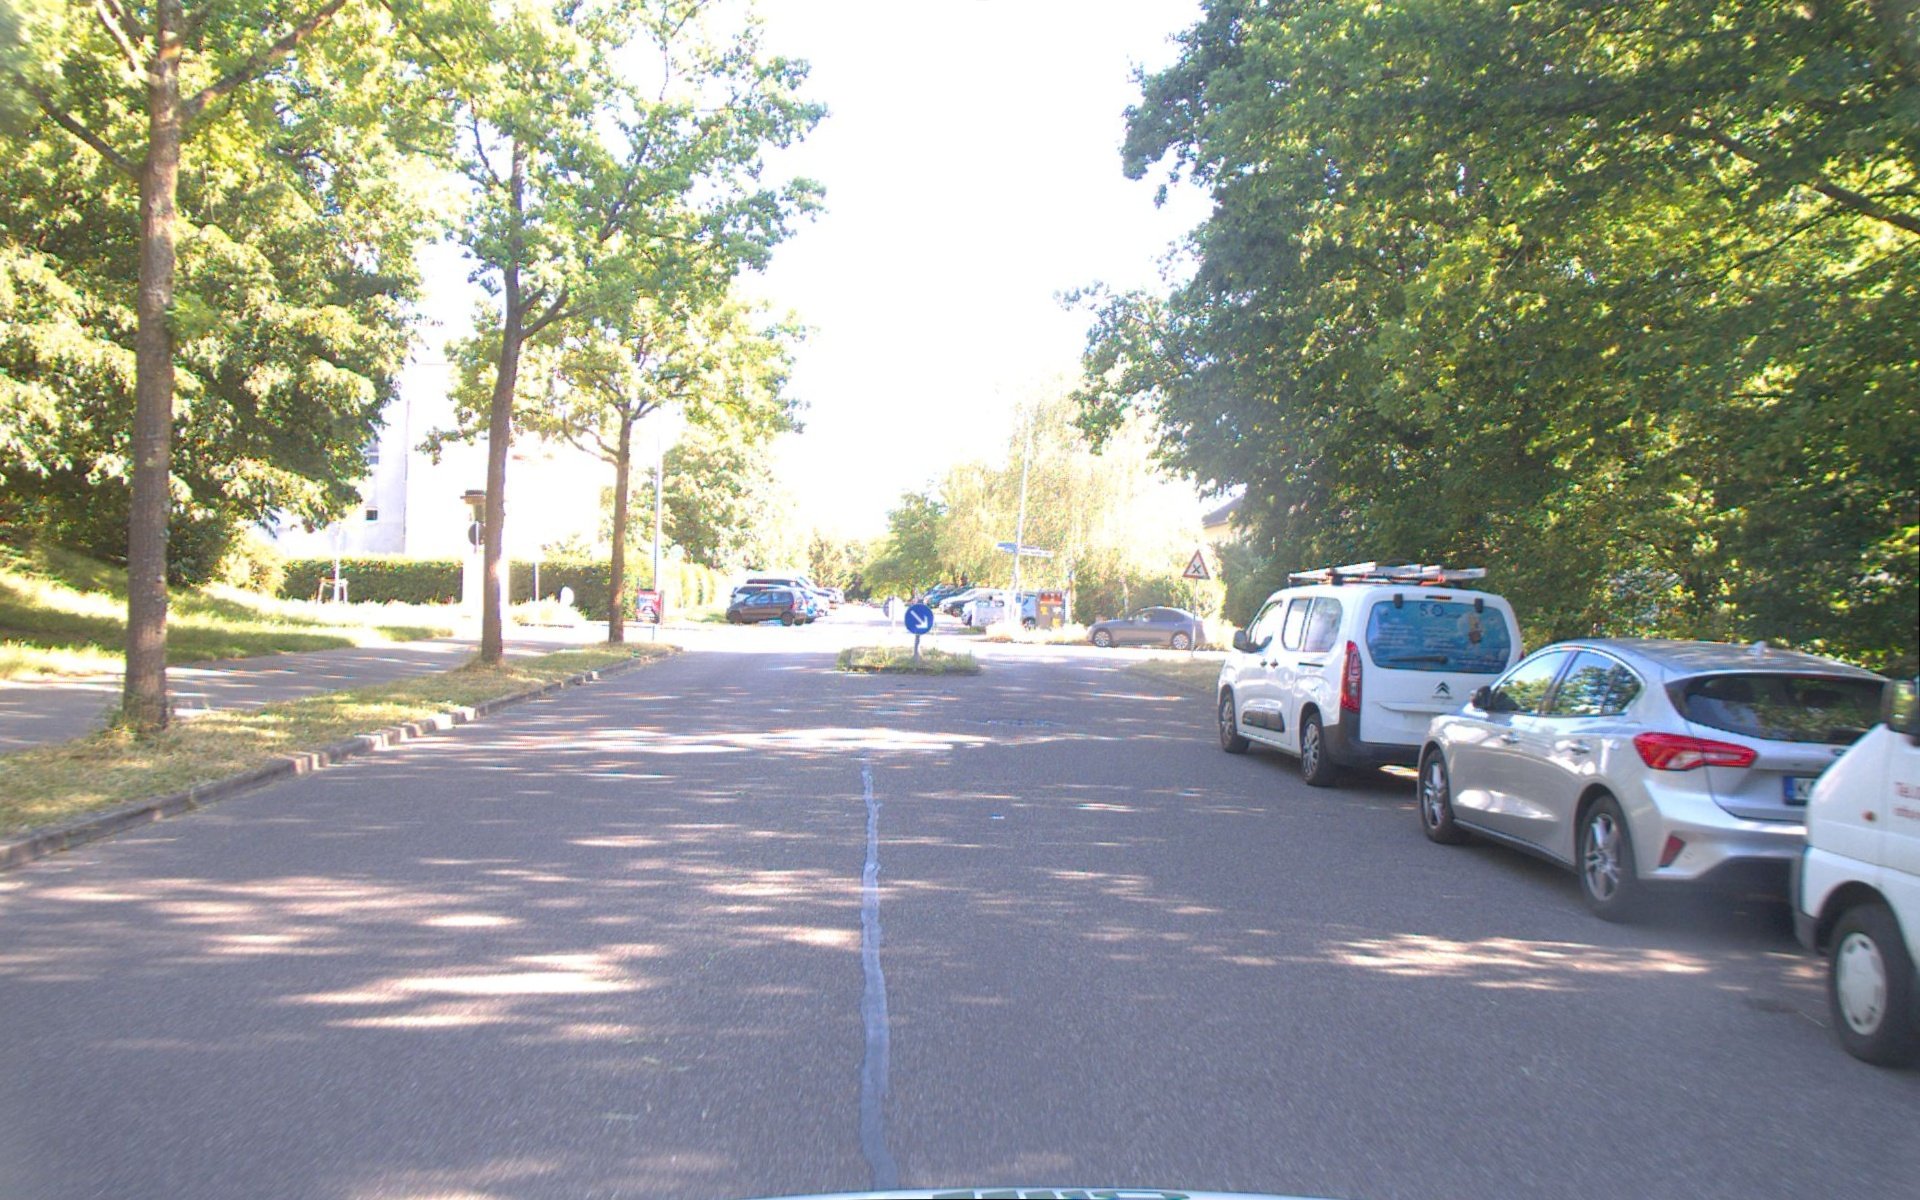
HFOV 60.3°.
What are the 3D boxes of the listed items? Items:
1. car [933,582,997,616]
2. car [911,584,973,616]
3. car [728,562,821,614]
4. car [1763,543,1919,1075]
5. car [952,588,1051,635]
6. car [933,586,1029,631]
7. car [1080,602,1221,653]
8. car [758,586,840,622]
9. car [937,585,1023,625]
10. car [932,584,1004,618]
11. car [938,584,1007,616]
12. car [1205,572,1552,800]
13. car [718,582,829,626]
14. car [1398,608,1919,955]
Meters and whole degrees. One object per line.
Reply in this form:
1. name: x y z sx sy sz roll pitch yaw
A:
1. car: 0.327 -0.035 100.134 3.759 1.827 1.689 3 0 2
2. car: -1.151 0.010 105.004 3.759 1.827 1.689 3 0 2
3. car: -10.592 -0.690 94.622 5.102 2.666 2.290 3 0 -8
4. car: 4.112 0.753 4.808 1.590 1.804 3.667 3 0 -2
5. car: 1.651 0.438 65.407 3.758 1.604 1.689 3 0 4
6. car: 0.890 0.341 68.198 3.758 1.604 1.689 3 0 4
7. car: 6.587 0.950 57.020 4.447 1.459 2.047 3 0 18
8. car: -8.326 0.210 85.778 4.023 1.604 1.958 3 0 -1
9. car: 0.937 0.230 76.010 3.758 1.604 1.689 3 0 4
10. car: 0.463 0.057 90.803 3.758 1.604 1.689 3 0 4
11. car: 0.737 0.020 93.948 3.759 1.604 1.689 3 0 2
12. car: 3.844 0.709 16.078 1.756 1.816 4.551 3 0 -6
13. car: -7.810 0.171 69.487 4.228 1.604 2.047 3 0 4
14. car: 4.126 0.887 9.941 1.657 1.538 4.204 3 0 -2
